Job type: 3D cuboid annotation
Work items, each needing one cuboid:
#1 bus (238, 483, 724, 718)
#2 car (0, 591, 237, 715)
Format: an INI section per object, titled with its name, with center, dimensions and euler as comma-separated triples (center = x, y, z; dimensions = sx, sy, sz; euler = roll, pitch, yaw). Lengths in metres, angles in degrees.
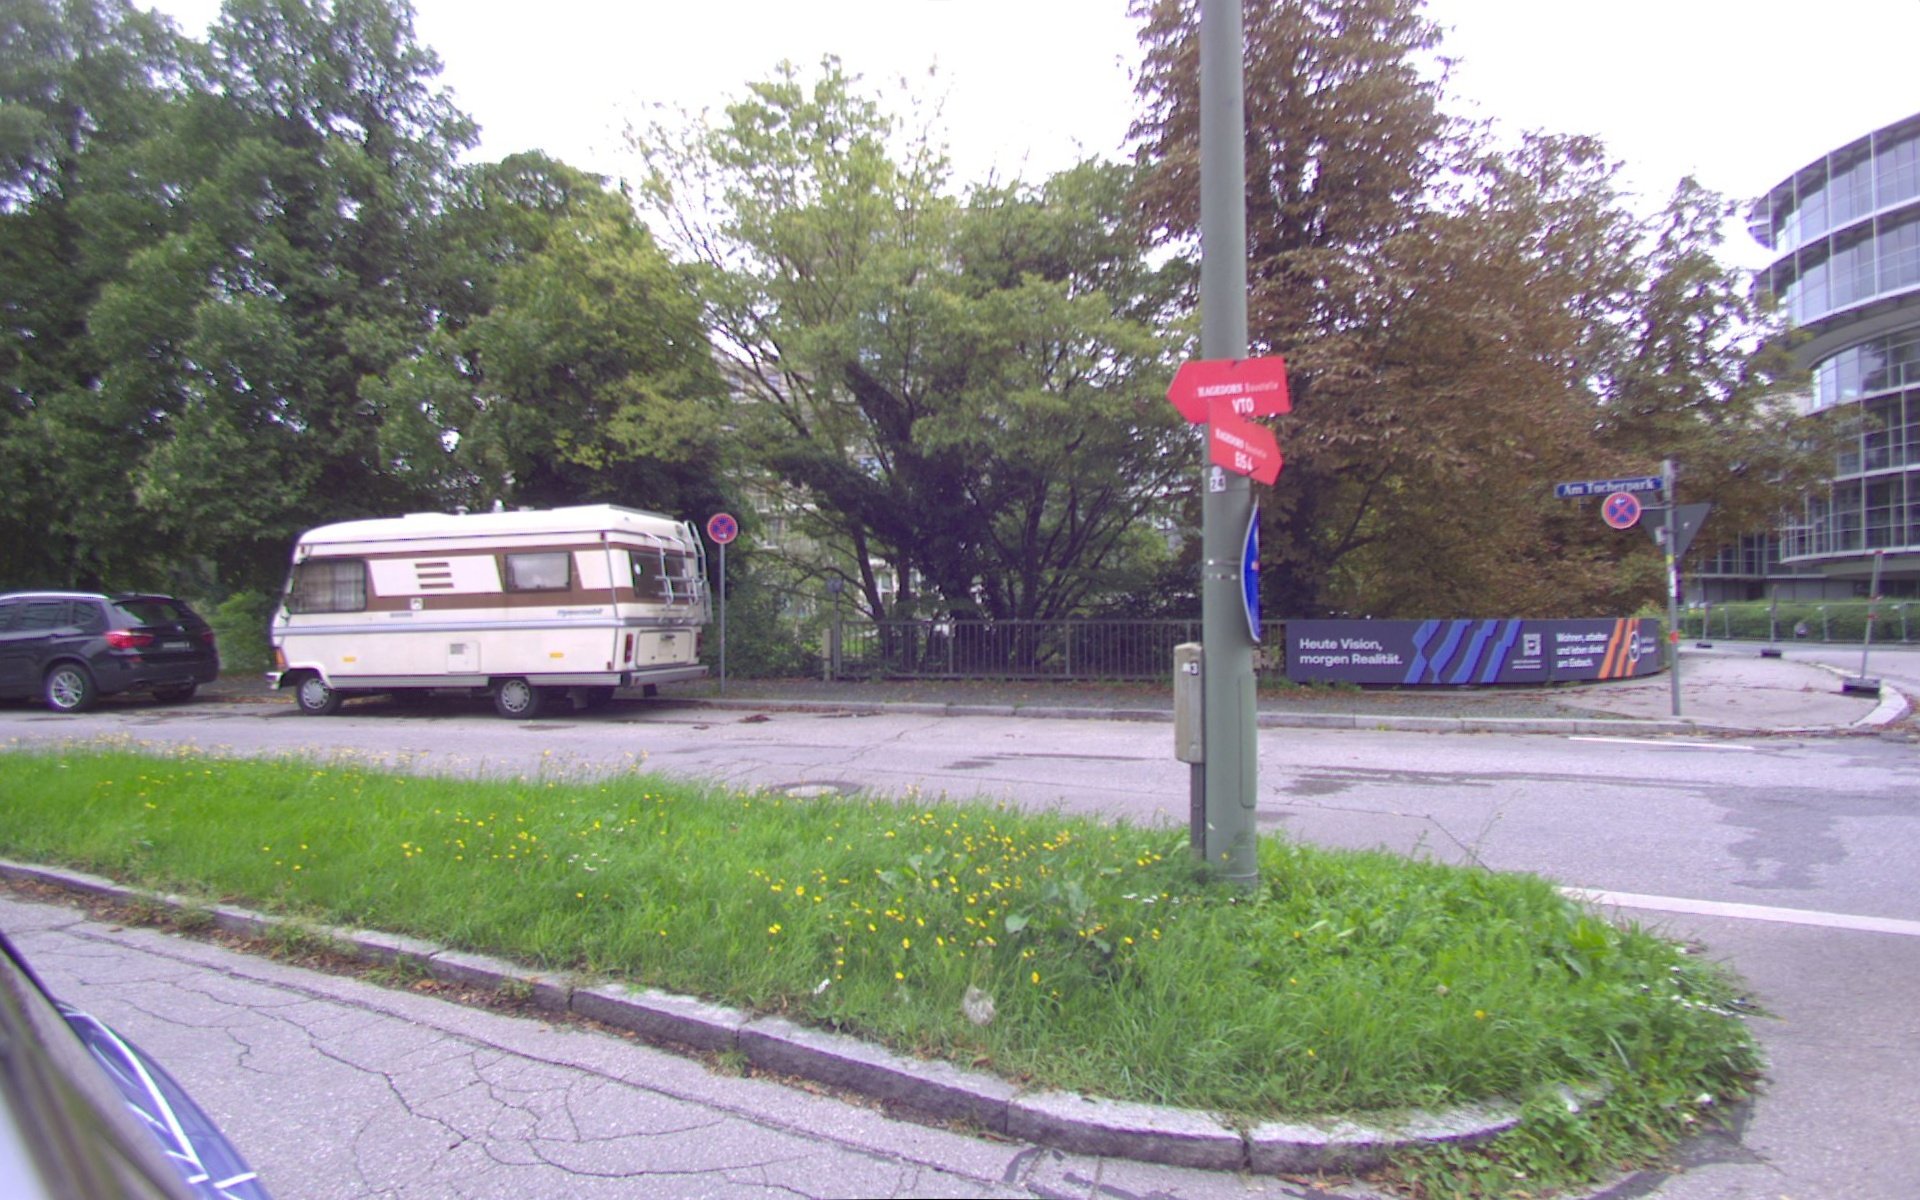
[bus]
center = -6.262, 0.061, 13.487
dimensions = 5.677, 2.719, 2.313
euler = -1, -1, 13
[car]
center = -13.268, 0.751, 14.726
dimensions = 4.404, 1.662, 1.779
euler = -1, -1, 6
